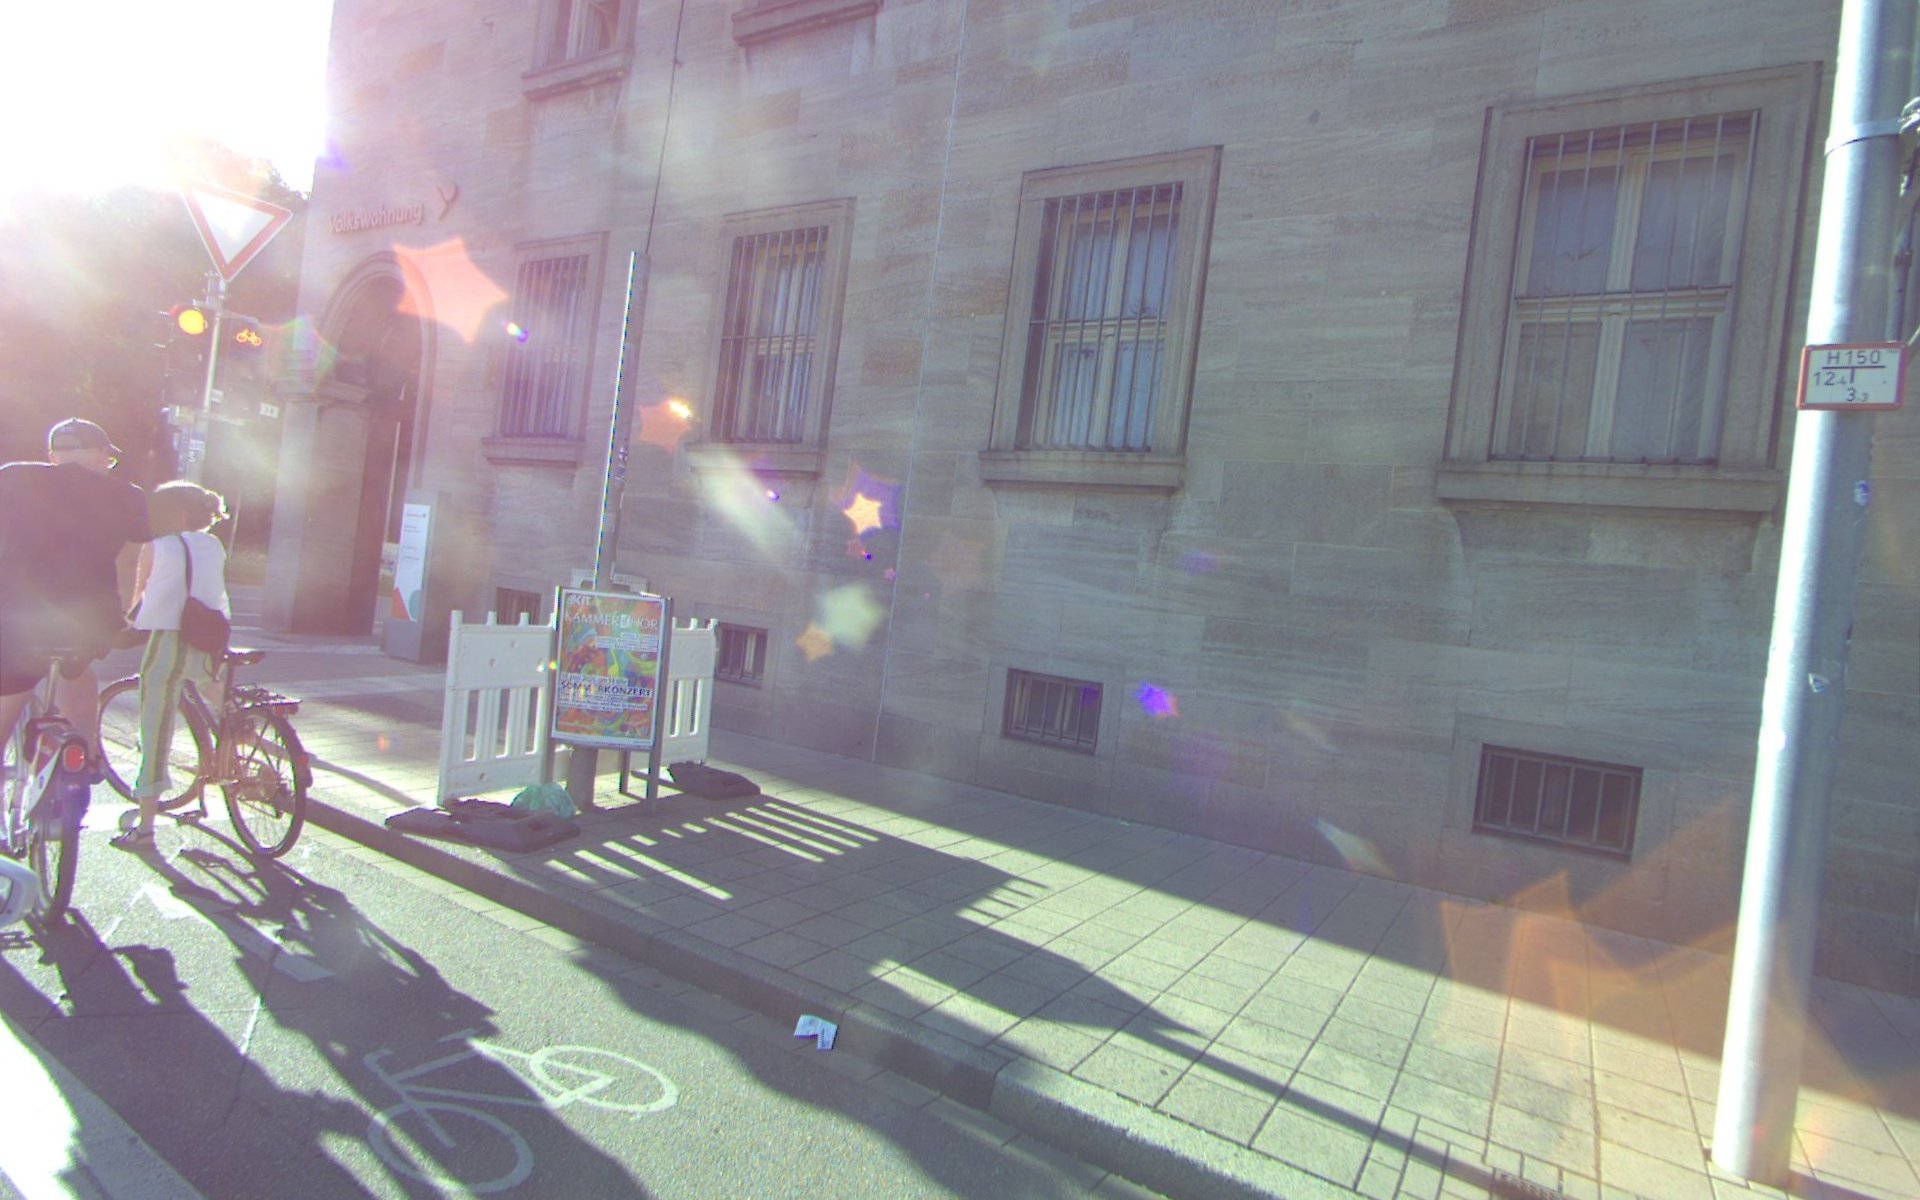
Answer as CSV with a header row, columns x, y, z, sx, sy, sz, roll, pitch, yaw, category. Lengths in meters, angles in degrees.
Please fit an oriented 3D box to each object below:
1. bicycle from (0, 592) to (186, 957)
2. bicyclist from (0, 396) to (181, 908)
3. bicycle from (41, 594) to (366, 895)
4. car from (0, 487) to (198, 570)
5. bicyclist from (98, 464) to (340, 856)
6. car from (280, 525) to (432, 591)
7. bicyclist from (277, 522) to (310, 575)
x,y,z,sx,sy,sz,roll,pitch,yaw,category
-3.732,0.574,3.925,1.700,1.090,0.516,7,-1,34,bicycle
-3.543,0.193,3.855,0.541,1.820,0.559,7,-1,33,bicyclist
-3.676,0.621,4.842,1.721,1.090,0.535,7,-1,31,bicycle
-23.365,-1.893,27.197,1.623,1.630,3.999,7,-1,31,car
-3.529,0.266,4.804,0.629,1.711,0.558,7,-1,30,bicyclist
-19.717,-1.331,32.976,1.623,1.630,3.854,7,-1,31,car
-22.553,-1.733,34.055,0.499,1.704,0.643,7,0,37,bicyclist
